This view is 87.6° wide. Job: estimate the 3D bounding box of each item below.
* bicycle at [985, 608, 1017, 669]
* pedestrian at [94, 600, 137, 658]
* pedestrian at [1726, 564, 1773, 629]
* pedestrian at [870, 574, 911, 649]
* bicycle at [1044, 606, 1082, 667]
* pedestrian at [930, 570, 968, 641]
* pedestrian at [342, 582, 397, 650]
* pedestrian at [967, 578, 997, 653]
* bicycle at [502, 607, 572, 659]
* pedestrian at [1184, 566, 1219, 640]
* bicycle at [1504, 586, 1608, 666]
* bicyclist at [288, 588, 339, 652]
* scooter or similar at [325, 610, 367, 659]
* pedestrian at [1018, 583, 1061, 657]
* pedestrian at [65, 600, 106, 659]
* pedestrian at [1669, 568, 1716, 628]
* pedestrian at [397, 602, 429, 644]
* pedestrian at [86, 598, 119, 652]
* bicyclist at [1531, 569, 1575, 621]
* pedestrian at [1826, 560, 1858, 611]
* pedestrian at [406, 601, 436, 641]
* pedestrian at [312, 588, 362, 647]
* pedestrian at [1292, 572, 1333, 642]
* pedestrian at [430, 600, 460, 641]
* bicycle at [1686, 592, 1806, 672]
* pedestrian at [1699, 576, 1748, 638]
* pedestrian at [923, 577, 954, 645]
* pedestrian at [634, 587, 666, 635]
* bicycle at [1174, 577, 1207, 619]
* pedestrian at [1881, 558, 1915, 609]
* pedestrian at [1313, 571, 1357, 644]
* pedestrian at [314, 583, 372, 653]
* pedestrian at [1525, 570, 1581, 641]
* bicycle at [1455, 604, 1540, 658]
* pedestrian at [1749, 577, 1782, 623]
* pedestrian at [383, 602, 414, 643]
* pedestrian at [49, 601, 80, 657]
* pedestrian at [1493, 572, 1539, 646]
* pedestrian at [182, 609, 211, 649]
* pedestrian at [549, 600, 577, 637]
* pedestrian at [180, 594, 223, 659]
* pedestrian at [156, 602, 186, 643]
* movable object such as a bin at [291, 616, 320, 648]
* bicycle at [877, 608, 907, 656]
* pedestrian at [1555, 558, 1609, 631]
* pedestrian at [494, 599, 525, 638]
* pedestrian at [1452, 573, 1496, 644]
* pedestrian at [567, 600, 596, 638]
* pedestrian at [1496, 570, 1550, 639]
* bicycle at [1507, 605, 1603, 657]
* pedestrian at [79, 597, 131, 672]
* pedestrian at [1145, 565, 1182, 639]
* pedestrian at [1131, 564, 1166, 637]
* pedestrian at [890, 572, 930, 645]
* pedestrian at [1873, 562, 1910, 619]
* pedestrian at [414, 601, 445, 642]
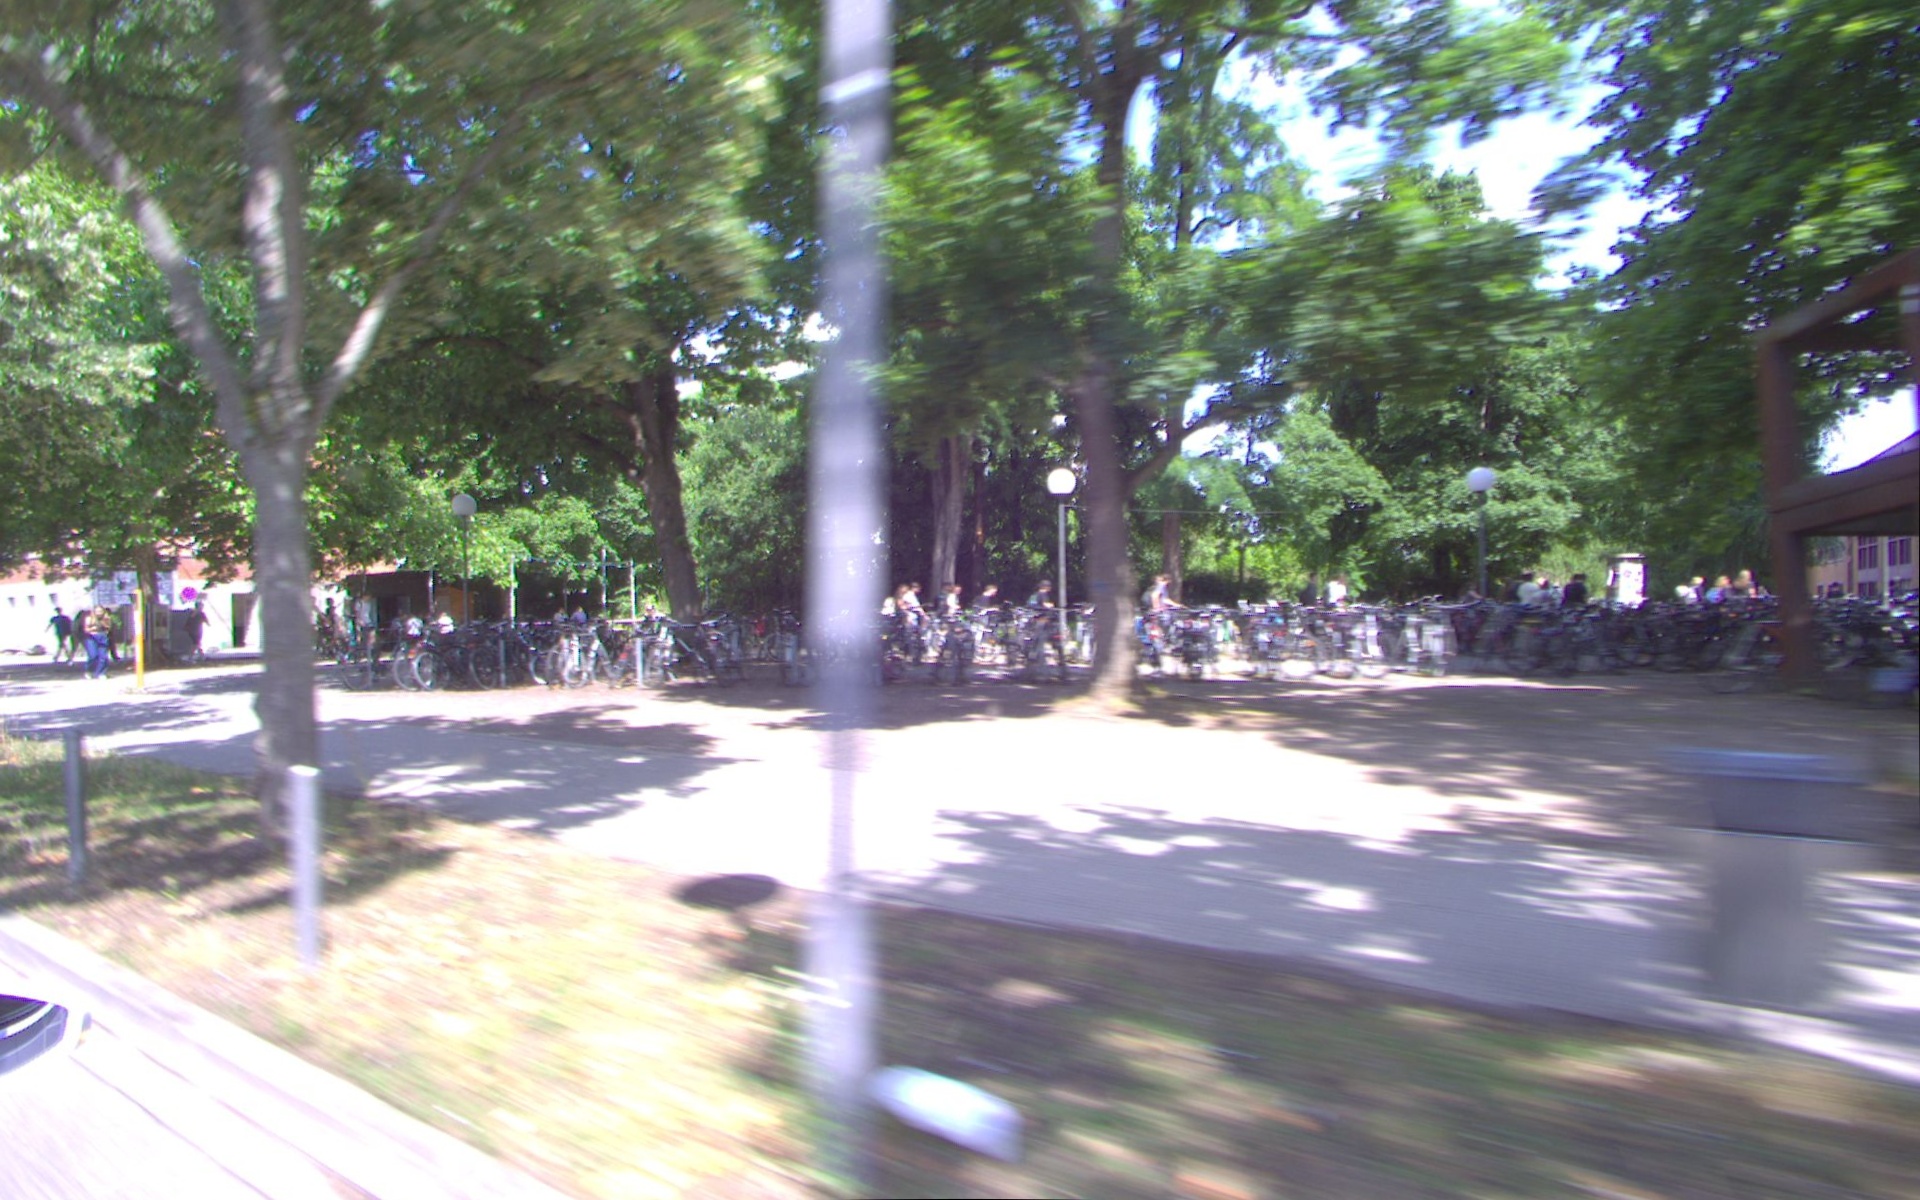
[{"bbox_3d":[0.797,0.736,19.968,0.469,1.097,1.903,-2,1,-2],"label":"bicycle"},{"bbox_3d":[-25.434,0.864,30.158,0.813,1.683,0.763,-1,1,34],"label":"pedestrian"},{"bbox_3d":[22.535,-0.104,28.593,0.707,1.814,0.744,-1,1,-10],"label":"pedestrian"},{"bbox_3d":[-1.683,0.268,24.275,0.709,1.799,0.742,0,2,26],"label":"pedestrian"},{"bbox_3d":[2.035,0.701,19.984,0.469,1.097,1.903,-2,1,-2],"label":"bicycle"},{"bbox_3d":[-0.287,0.144,25.726,0.709,1.799,0.742,0,2,26],"label":"pedestrian"},{"bbox_3d":[-17.525,0.470,29.721,1.059,1.976,0.833,-1,2,14],"label":"pedestrian"},{"bbox_3d":[0.537,0.365,24.244,0.707,1.799,0.744,0,1,3],"label":"pedestrian"},{"bbox_3d":[-10.254,0.786,24.357,0.470,1.159,1.901,-1,1,15],"label":"bicycle"},{"bbox_3d":[5.935,0.065,24.615,0.707,1.799,0.744,0,1,2],"label":"pedestrian"},{"bbox_3d":[9.323,0.381,15.749,0.406,1.186,1.844,-1,1,-5],"label":"bicycle"},{"bbox_3d":[-18.023,0.565,27.918,1.059,1.753,0.530,-1,3,14],"label":"bicyclist"},{"bbox_3d":[-15.777,0.890,25.735,1.277,1.235,0.423,-1,1,35],"label":"scooter or similar"},{"bbox_3d":[2.009,0.491,25.153,0.954,1.799,0.962,0,1,12],"label":"pedestrian"},{"bbox_3d":[-25.834,0.870,29.585,0.777,1.683,0.695,-1,1,34],"label":"pedestrian"},{"bbox_3d":[19.649,-0.058,26.881,0.708,1.590,0.743,-1,1,-19],"label":"pedestrian"},{"bbox_3d":[-18.578,0.779,34.016,0.718,1.366,0.568,0,4,30],"label":"pedestrian"},{"bbox_3d":[-29.670,0.843,34.658,0.717,1.822,0.593,1,4,31],"label":"pedestrian"},{"bbox_3d":[16.990,-0.145,28.684,0.788,1.466,0.744,-1,1,-9],"label":"bicyclist"},{"bbox_3d":[27.989,-0.460,31.785,0.736,1.590,0.714,1,2,42],"label":"pedestrian"},{"bbox_3d":[-18.935,0.727,35.193,0.718,1.366,0.568,0,4,30],"label":"pedestrian"},{"bbox_3d":[-19.382,0.516,31.167,0.905,1.799,0.957,0,1,26],"label":"pedestrian"},{"bbox_3d":[9.173,0.178,26.056,0.708,1.799,0.743,-1,1,-18],"label":"pedestrian"},{"bbox_3d":[-18.009,0.706,35.018,0.718,1.366,0.568,0,4,30],"label":"pedestrian"},{"bbox_3d":[12.434,0.471,15.914,0.428,1.186,1.845,-1,1,-1],"label":"bicycle"},{"bbox_3d":[19.922,0.164,26.138,0.708,1.590,0.743,-1,1,-14],"label":"pedestrian"},{"bbox_3d":[-0.578,0.284,26.795,0.707,1.799,0.744,0,1,9],"label":"pedestrian"},{"bbox_3d":[-10.659,0.376,34.439,0.708,1.604,0.665,0,4,30],"label":"pedestrian"},{"bbox_3d":[6.436,-0.068,28.023,0.469,1.108,1.610,-2,1,-3],"label":"bicycle"},{"bbox_3d":[29.935,-0.515,31.972,0.736,1.590,0.714,1,2,42],"label":"pedestrian"},{"bbox_3d":[9.428,0.184,25.190,0.708,1.799,0.743,-1,1,-18],"label":"pedestrian"},{"bbox_3d":[-17.751,0.513,28.805,1.059,1.976,0.833,-1,2,14],"label":"pedestrian"},{"bbox_3d":[15.337,0.129,25.907,0.977,1.799,0.838,-1,2,-26],"label":"pedestrian"},{"bbox_3d":[10.924,0.607,20.428,0.469,0.992,1.902,-2,1,-9],"label":"bicycle"},{"bbox_3d":[27.920,-0.012,34.718,0.505,1.533,0.690,-2,4,-9],"label":"pedestrian"},{"bbox_3d":[-19.337,0.777,34.491,0.718,1.366,0.568,0,4,30],"label":"pedestrian"},{"bbox_3d":[-30.004,0.953,33.539,0.400,1.822,0.593,1,4,30],"label":"pedestrian"},{"bbox_3d":[13.783,0.211,24.823,0.710,1.799,0.740,-1,2,-31],"label":"pedestrian"},{"bbox_3d":[-31.775,1.210,41.685,0.669,1.629,0.657,-1,1,19],"label":"pedestrian"},{"bbox_3d":[-14.226,0.660,35.884,0.613,1.289,0.665,0,4,30],"label":"pedestrian"},{"bbox_3d":[-22.748,0.785,30.041,0.813,1.880,0.763,-1,1,34],"label":"pedestrian"},{"bbox_3d":[-32.185,0.904,40.862,0.669,1.629,0.657,-1,1,19],"label":"pedestrian"},{"bbox_3d":[-23.194,1.129,35.485,0.733,1.085,0.597,-3,-1,35],"label":"movable object such as a bin"},{"bbox_3d":[-1.529,0.693,22.648,0.300,0.992,1.884,-1,1,7],"label":"bicycle"},{"bbox_3d":[15.661,-0.147,25.221,0.798,1.799,0.852,-1,1,-22],"label":"pedestrian"},{"bbox_3d":[-16.146,0.661,35.912,0.708,1.366,0.665,0,4,30],"label":"pedestrian"},{"bbox_3d":[13.203,0.208,25.739,0.710,1.799,0.740,-1,2,-31],"label":"pedestrian"},{"bbox_3d":[-13.396,0.653,35.474,0.613,1.289,0.665,0,4,30],"label":"pedestrian"},{"bbox_3d":[14.965,0.106,26.614,0.977,1.799,0.838,-1,2,-26],"label":"pedestrian"},{"bbox_3d":[12.185,0.613,20.567,0.470,0.992,1.900,-2,1,-15],"label":"bicycle"},{"bbox_3d":[-18.634,0.750,21.822,0.915,1.593,0.566,-1,2,34],"label":"pedestrian"},{"bbox_3d":[4.971,0.043,24.511,0.707,1.799,0.744,-1,1,-6],"label":"pedestrian"},{"bbox_3d":[4.768,0.008,25.374,0.707,1.799,0.744,-1,1,-6],"label":"pedestrian"},{"bbox_3d":[-1.252,0.206,25.104,0.709,1.799,0.742,0,2,26],"label":"pedestrian"},{"bbox_3d":[26.494,-0.274,28.496,0.736,1.590,0.714,1,2,42],"label":"pedestrian"},{"bbox_3d":[-18.290,0.740,34.515,0.718,1.366,0.568,0,4,30],"label":"pedestrian"}]
